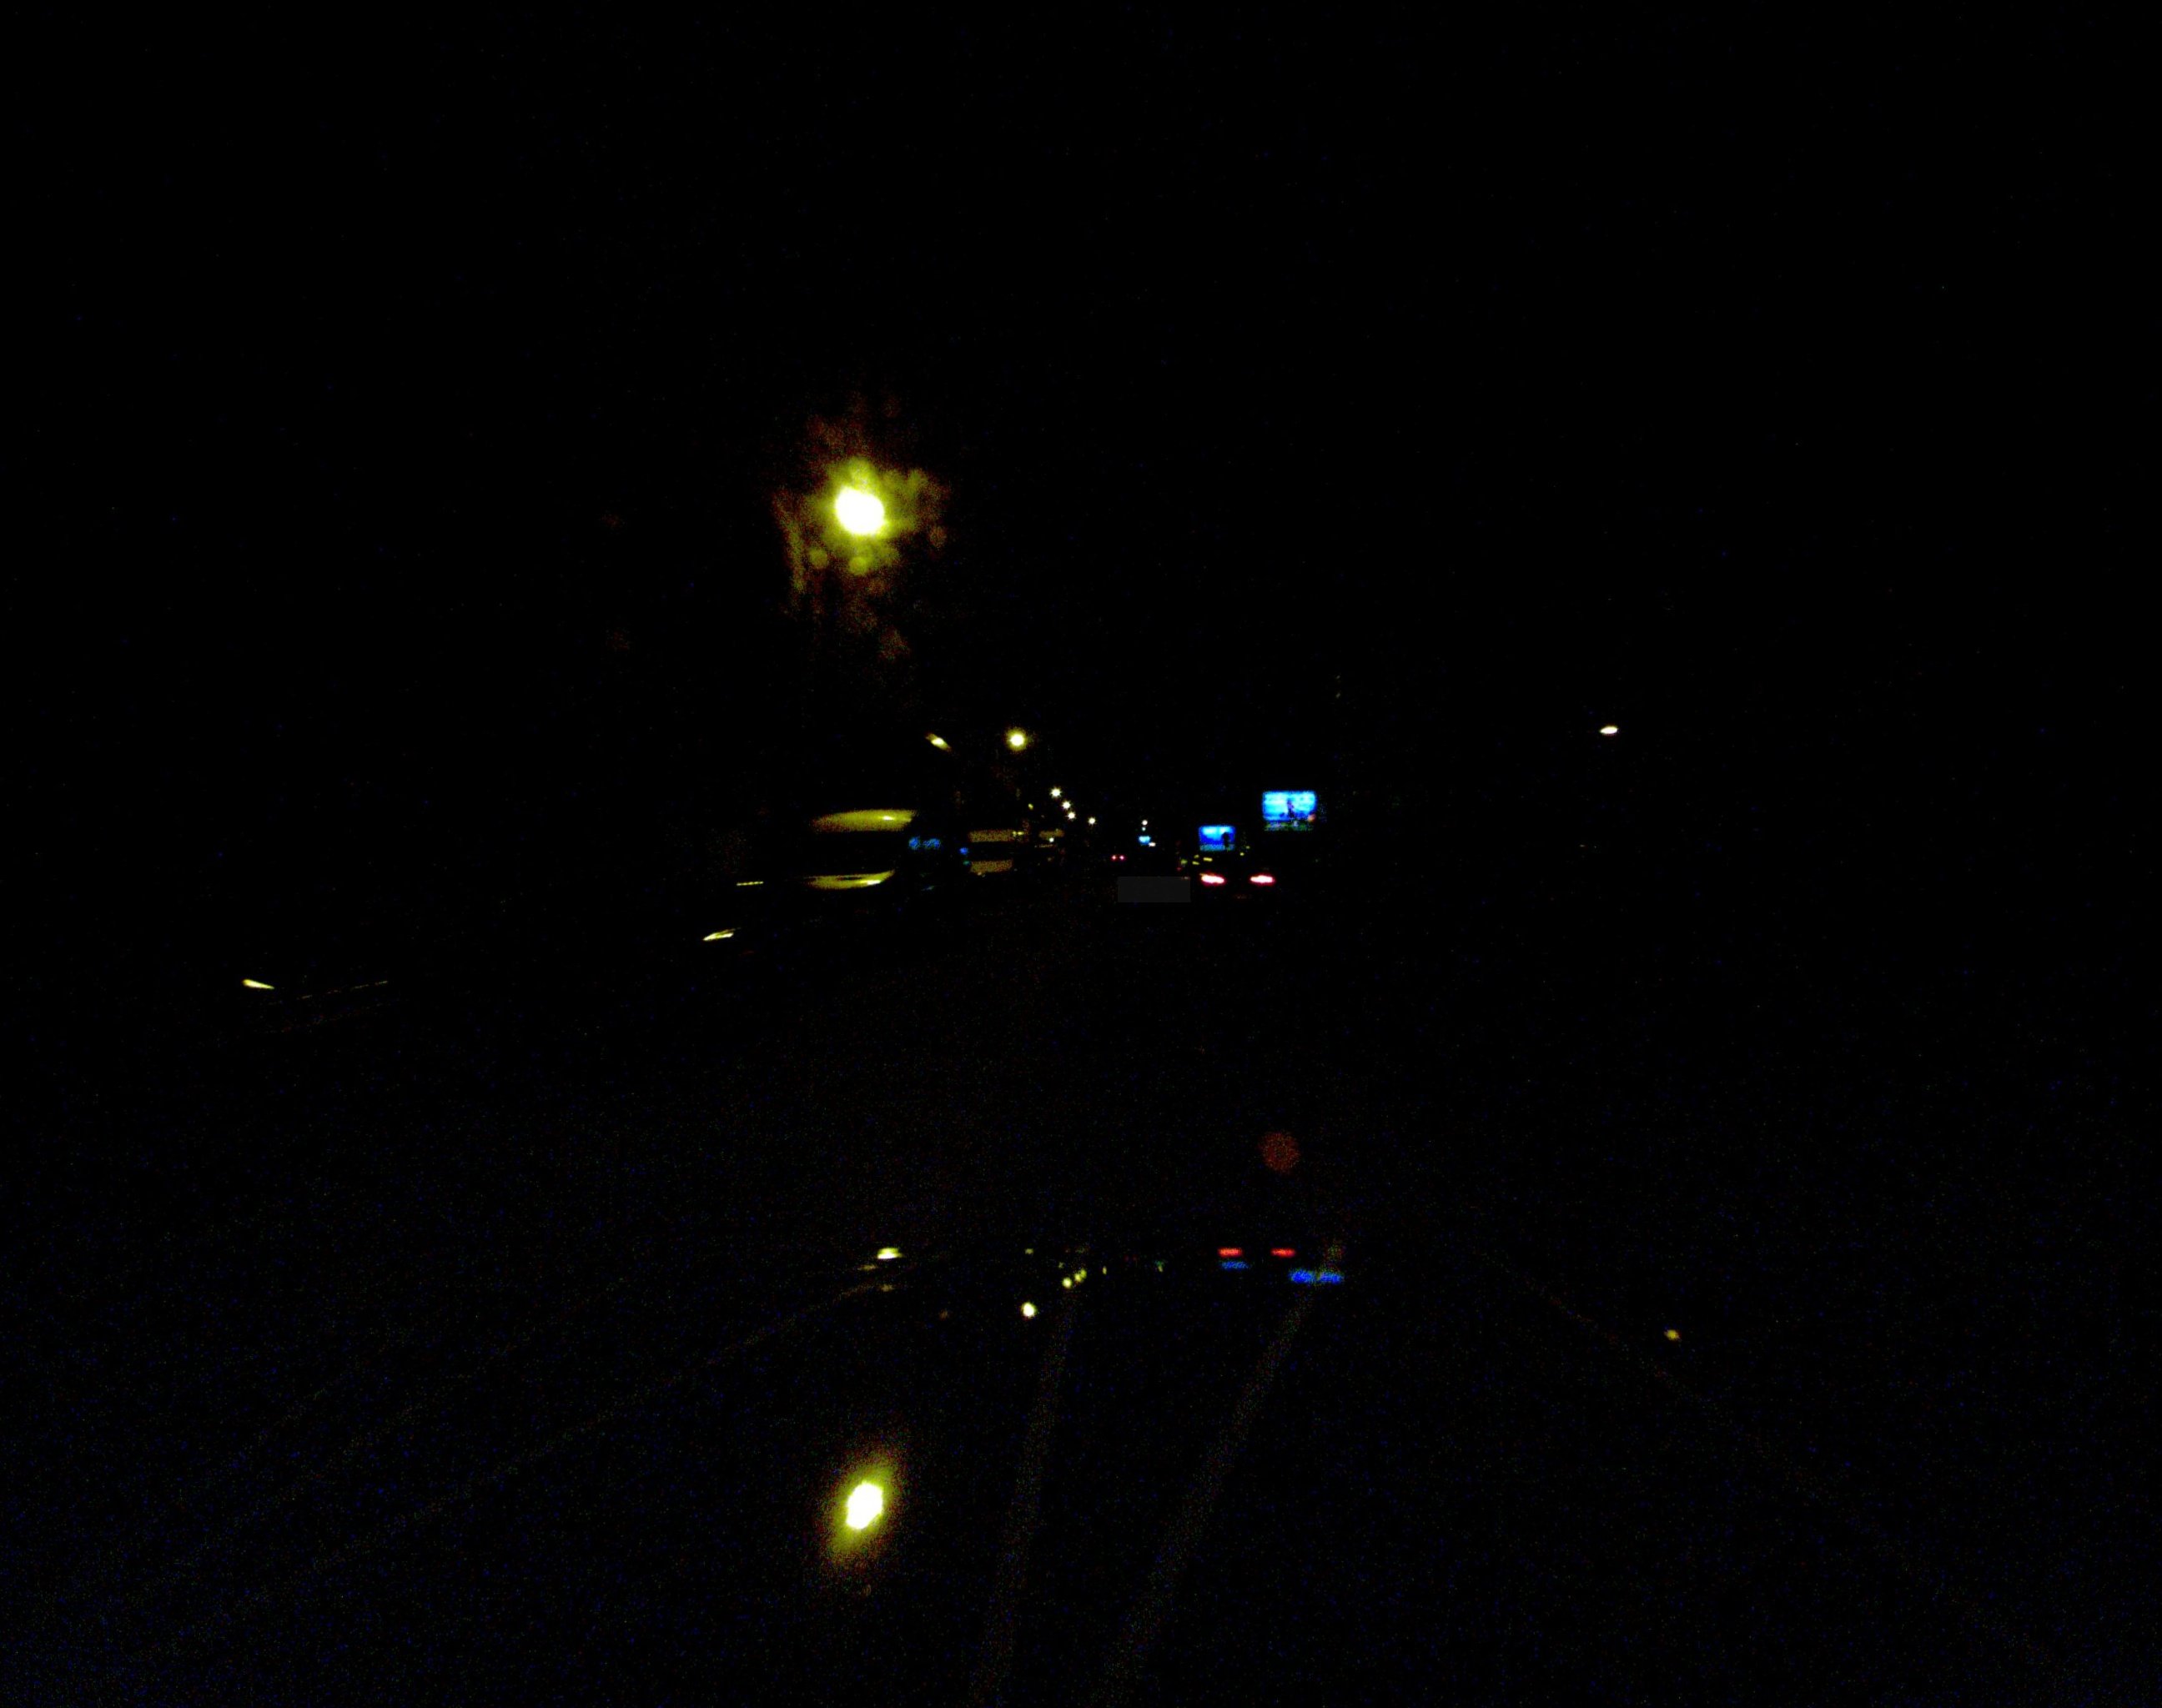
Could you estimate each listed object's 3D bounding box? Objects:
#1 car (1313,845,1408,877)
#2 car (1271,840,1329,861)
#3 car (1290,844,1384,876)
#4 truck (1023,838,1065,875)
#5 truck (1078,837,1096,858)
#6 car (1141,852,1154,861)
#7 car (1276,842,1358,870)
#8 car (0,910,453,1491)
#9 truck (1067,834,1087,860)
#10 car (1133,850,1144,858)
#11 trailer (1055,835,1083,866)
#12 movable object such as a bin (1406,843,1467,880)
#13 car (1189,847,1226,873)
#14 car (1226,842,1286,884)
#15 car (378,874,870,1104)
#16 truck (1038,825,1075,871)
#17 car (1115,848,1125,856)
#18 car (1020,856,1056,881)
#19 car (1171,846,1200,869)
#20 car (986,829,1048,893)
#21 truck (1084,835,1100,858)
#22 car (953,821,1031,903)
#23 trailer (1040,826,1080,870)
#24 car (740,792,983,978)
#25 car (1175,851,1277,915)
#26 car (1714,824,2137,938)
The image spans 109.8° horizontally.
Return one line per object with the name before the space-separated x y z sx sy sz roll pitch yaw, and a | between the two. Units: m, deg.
car | 13.617 0.318 36.996 4.421 1.432 1.789 -1 1 -27
car | 18.493 -0.281 64.387 4.410 1.644 1.923 -1 0 4
car | 13.435 0.301 39.825 4.678 1.542 1.995 -1 1 -27
truck | -2.646 0.174 56.705 2.407 2.579 6.598 -1 0 3
truck | 1.352 -1.422 164.906 3.072 4.449 5.636 -2 1 6
car | 9.950 0.395 114.555 1.760 1.382 4.309 -1 0 3
car | 14.056 0.077 45.300 4.419 1.551 1.996 -1 1 -23
car | -4.008 1.013 1.002 1.951 1.480 5.011 -1 0 4
truck | -0.570 -1.019 119.992 2.797 3.947 9.821 -2 0 1
car | 10.053 0.015 133.445 1.690 1.357 3.879 -2 1 2
trailer | -1.389 -0.401 92.951 2.885 3.504 8.284 -1 0 2
movable object such as a bin | 15.320 0.304 32.826 1.862 1.491 1.609 -1 1 2
car | 8.431 0.373 50.936 1.951 1.678 4.817 -1 0 4
car | 8.197 0.393 35.969 1.818 1.838 4.414 -1 1 0
car | -3.723 0.969 7.384 1.773 1.404 4.551 -1 0 4
truck | -2.085 -0.541 66.755 2.772 3.742 5.228 -2 1 2
car | 7.045 -0.352 138.273 1.824 1.429 4.398 -1 0 2
car | -2.753 0.890 49.790 1.834 1.399 4.908 -4 0 1
car | 8.427 0.284 61.779 1.808 1.788 4.878 -1 0 2
car | -2.810 0.288 34.729 1.998 2.556 6.014 -4 0 1
truck | 2.196 -1.382 146.905 2.659 3.851 10.234 -2 -2 2
car | -3.129 0.262 27.931 2.134 2.556 5.908 -4 0 -1
trailer | -1.855 -0.631 73.522 2.772 3.742 14.656 -2 1 2
car | -3.478 0.434 13.639 1.998 2.511 5.911 -4 0 5
car | 3.528 0.645 19.210 1.862 1.412 4.000 -1 1 1
car | 13.345 0.451 12.406 4.133 1.423 1.899 -5 -1 20
